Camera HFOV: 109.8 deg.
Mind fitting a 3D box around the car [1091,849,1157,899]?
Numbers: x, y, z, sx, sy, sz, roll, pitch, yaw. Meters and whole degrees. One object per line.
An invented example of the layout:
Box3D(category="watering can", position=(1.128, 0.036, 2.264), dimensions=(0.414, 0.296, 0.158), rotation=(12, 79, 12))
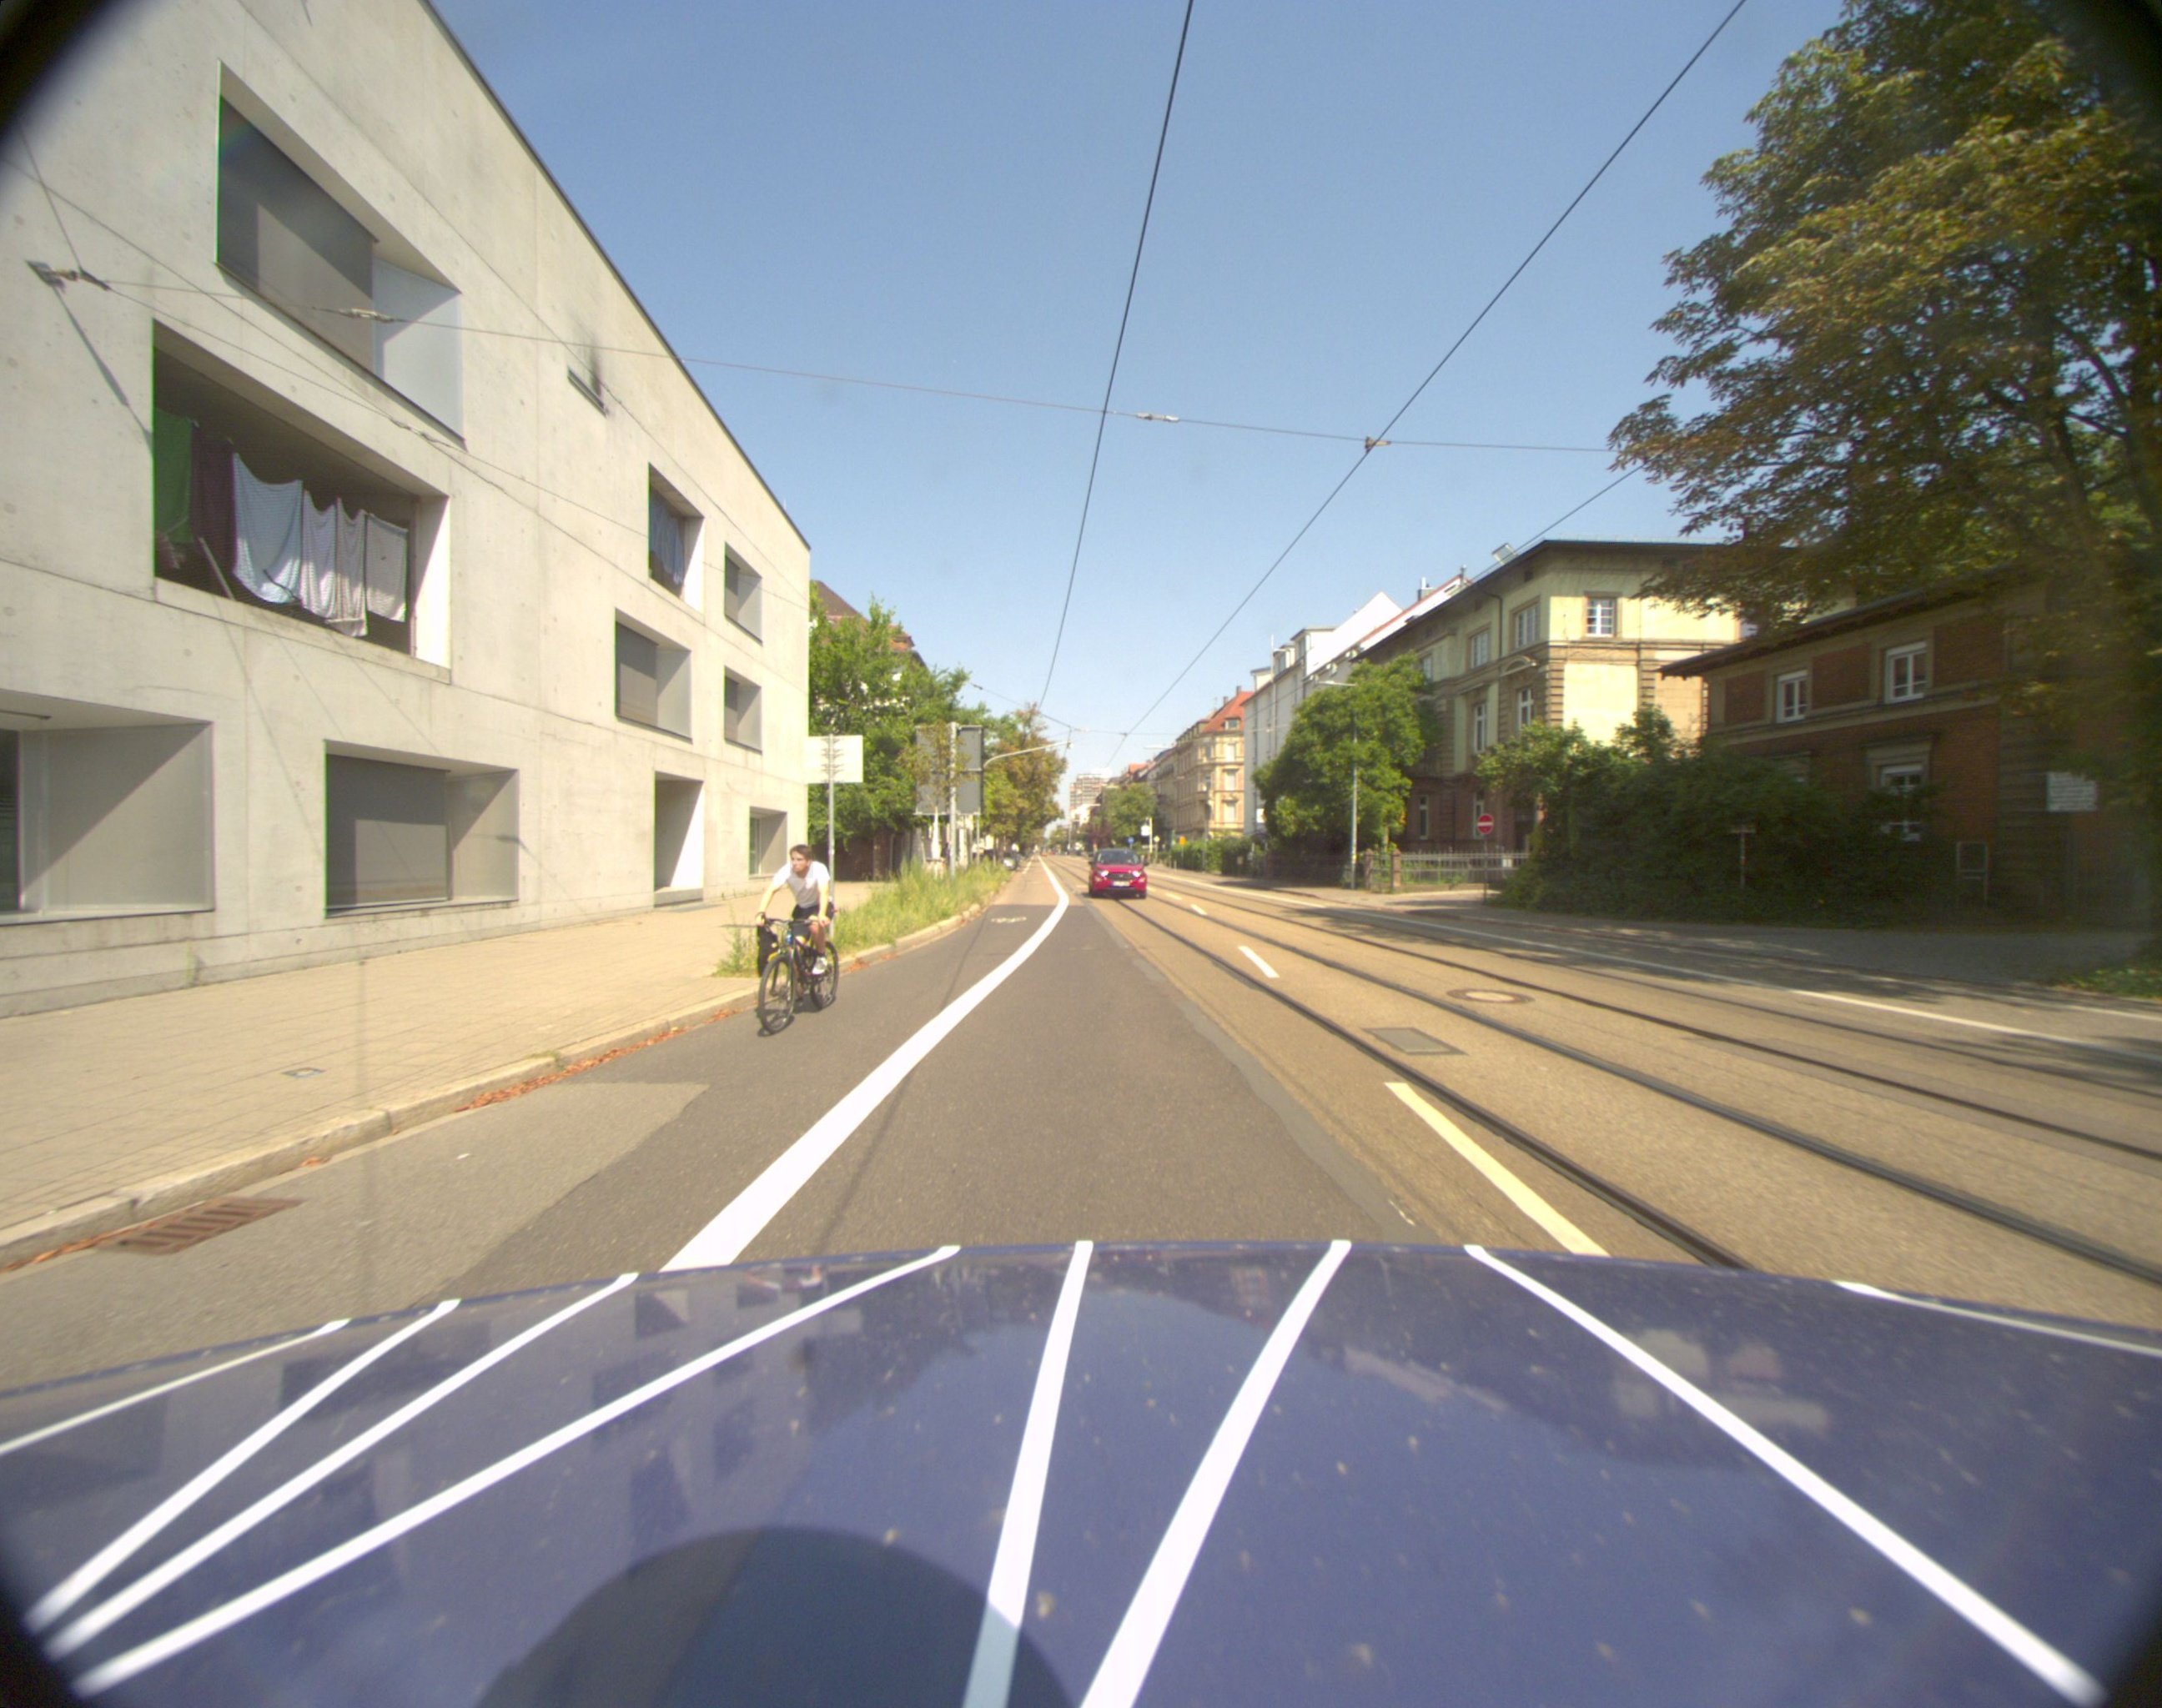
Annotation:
Box3D(category="car", position=(1.350, 0.603, 25.243), dimensions=(1.816, 1.542, 4.020), rotation=(0, 1, -2))

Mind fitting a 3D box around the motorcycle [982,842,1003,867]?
Box3D(category="motorcycle", position=(-5.812, 0.023, 50.046), dimensions=(0.888, 1.544, 2.412), rotation=(1, 1, 5))

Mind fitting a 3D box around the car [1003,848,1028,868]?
Box3D(category="car", position=(-4.946, 0.271, 57.072), dimensions=(1.788, 1.442, 4.748), rotation=(1, 1, -6))

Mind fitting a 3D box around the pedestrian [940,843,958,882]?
Box3D(category="pedestrian", position=(-5.833, 0.370, 33.530), dimensions=(0.693, 1.722, 0.579), rotation=(1, 1, -1))

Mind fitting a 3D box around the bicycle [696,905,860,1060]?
Box3D(category="bicycle", position=(-2.693, 1.083, 7.063), dimensions=(0.741, 1.043, 2.232), rotation=(0, 1, -3))

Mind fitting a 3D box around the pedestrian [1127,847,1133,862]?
Box3D(category="pedestrian", position=(6.451, 0.060, 99.590), dimensions=(0.657, 2.002, 0.974), rotation=(1, 1, -5))

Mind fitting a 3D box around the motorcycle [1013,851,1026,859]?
Box3D(category="motorcycle", position=(-9.281, 0.153, 114.722), dimensions=(2.000, 1.009, 0.796), rotation=(4, 1, -4))

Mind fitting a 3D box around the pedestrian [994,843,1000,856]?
Box3D(category="pedestrian", position=(-11.348, -0.618, 102.117), dimensions=(0.749, 1.775, 0.632), rotation=(1, 1, -3))

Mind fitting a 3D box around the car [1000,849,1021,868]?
Box3D(category="car", position=(-6.057, 0.386, 64.835), dimensions=(1.668, 1.498, 4.431), rotation=(1, 1, -7))

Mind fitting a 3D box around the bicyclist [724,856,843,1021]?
Box3D(category="bicyclist", position=(-2.709, 0.730, 7.012), dimensions=(0.747, 1.403, 0.961), rotation=(0, 1, -3))
